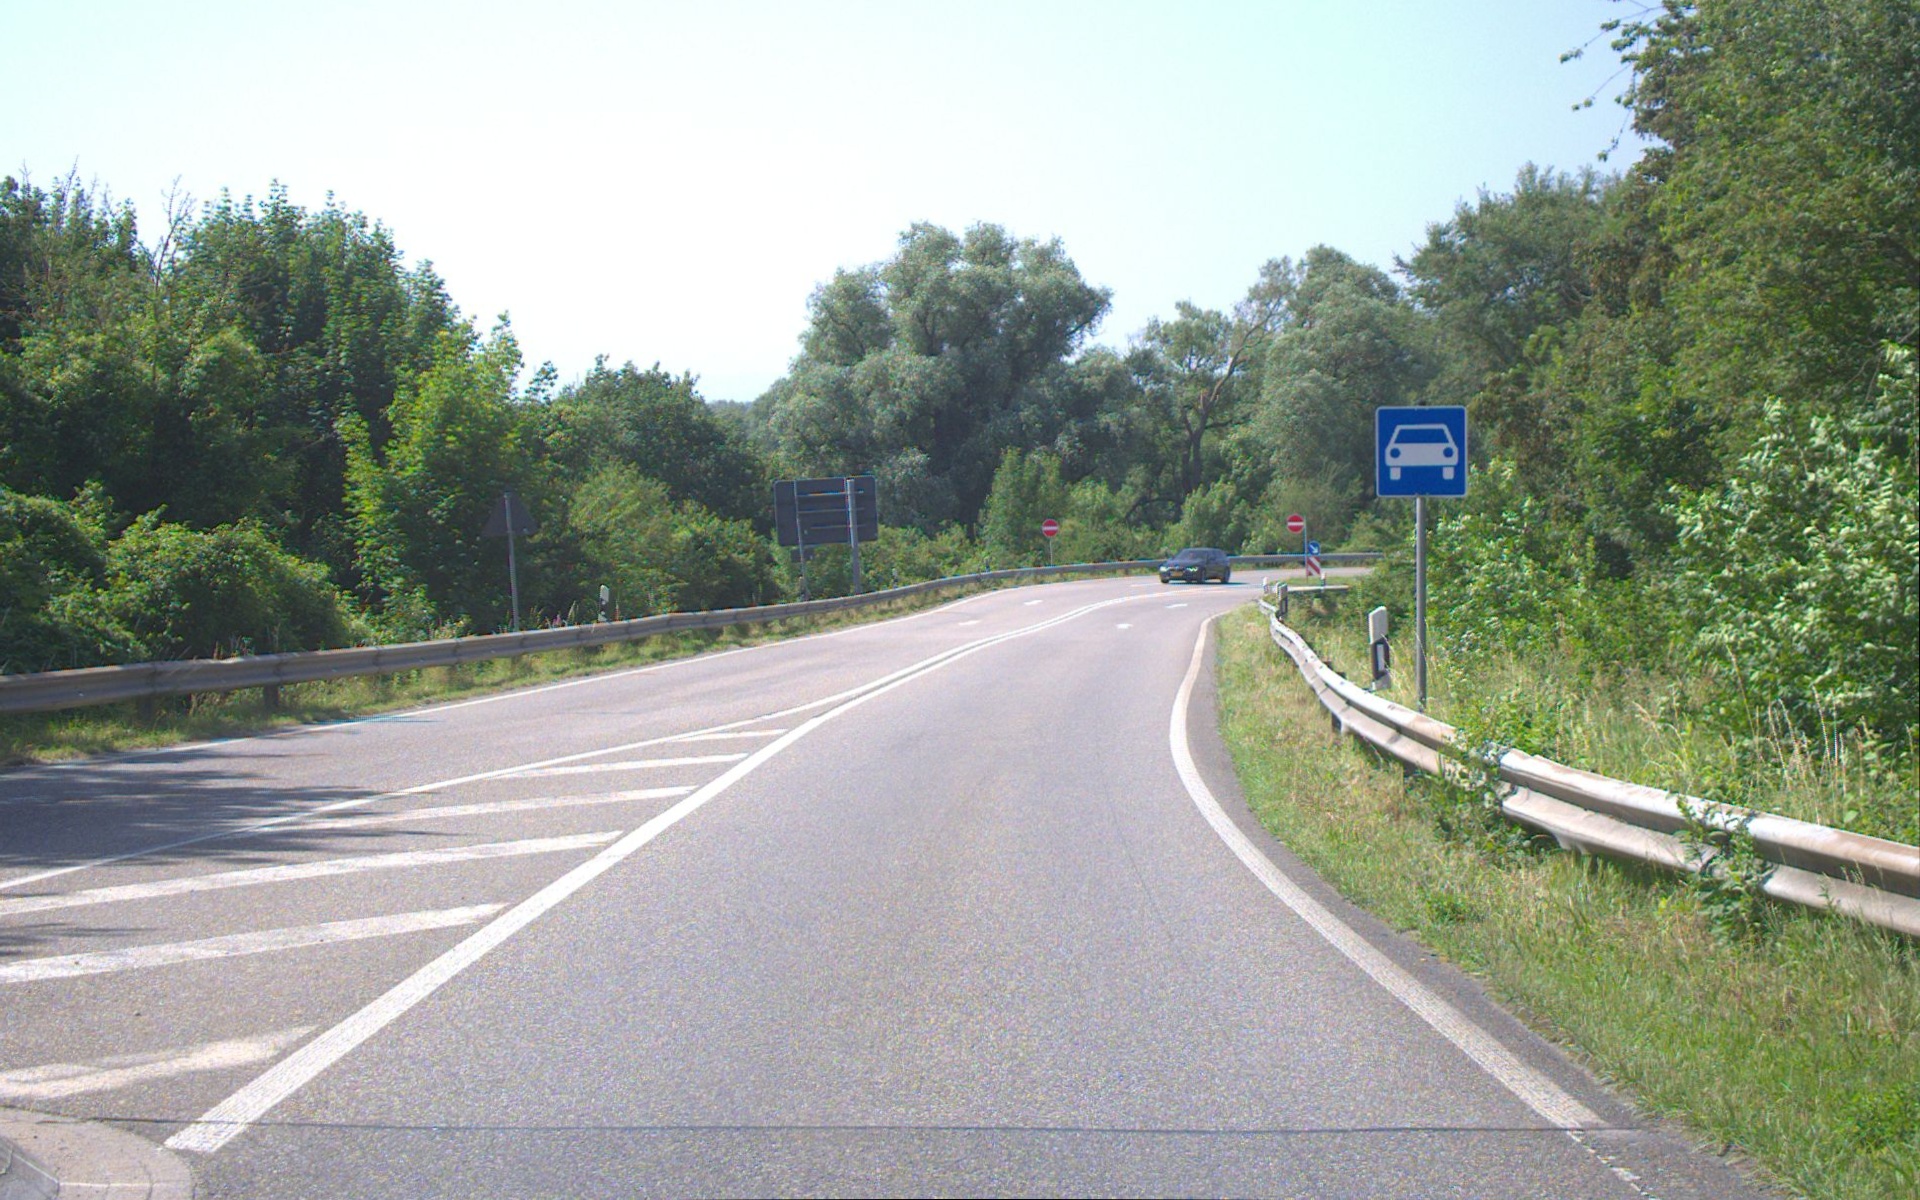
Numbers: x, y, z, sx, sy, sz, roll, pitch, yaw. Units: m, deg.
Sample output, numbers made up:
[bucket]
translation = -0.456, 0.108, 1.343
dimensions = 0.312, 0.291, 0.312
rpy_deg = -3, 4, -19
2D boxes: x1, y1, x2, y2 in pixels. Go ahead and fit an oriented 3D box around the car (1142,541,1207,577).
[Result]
[car]
translation = 8.797, -1.663, 140.580
dimensions = 1.609, 1.468, 4.216
rpy_deg = 0, 1, 19
